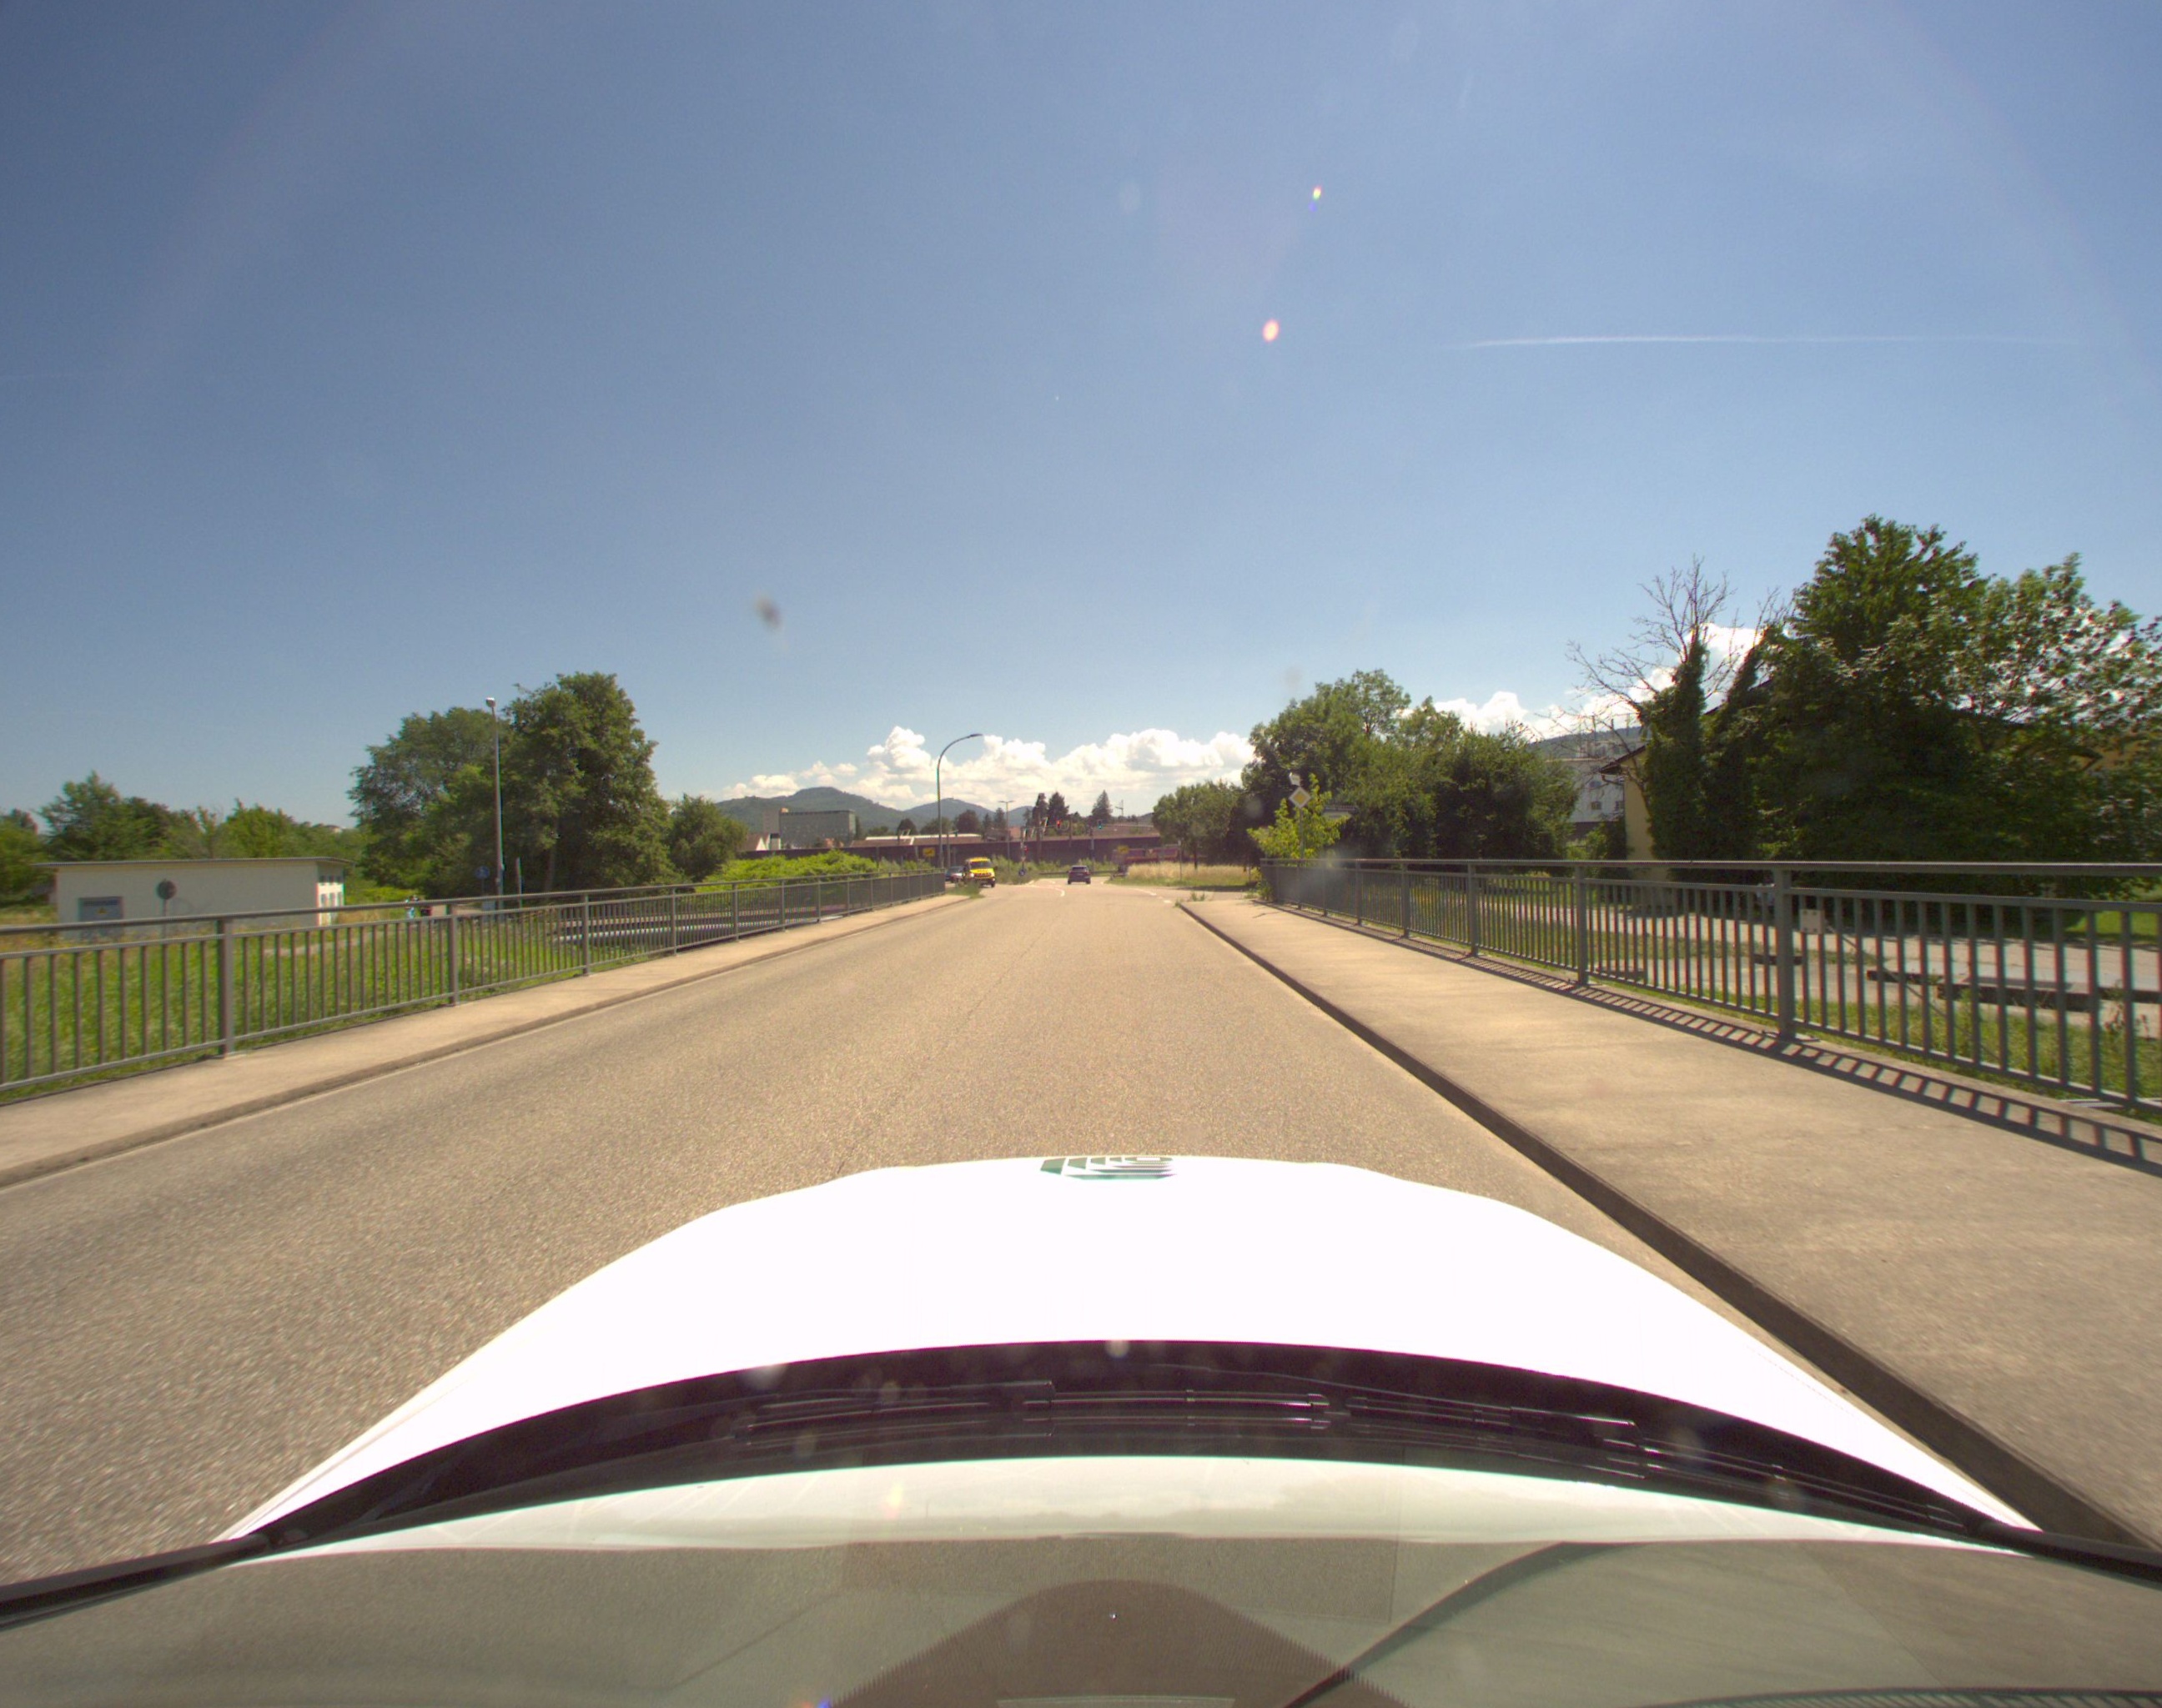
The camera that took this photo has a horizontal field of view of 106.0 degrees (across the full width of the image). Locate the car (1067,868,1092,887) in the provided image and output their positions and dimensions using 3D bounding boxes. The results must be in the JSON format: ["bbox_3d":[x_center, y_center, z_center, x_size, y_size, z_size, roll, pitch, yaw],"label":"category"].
[{"bbox_3d":[-0.138,1.961,67.765,1.988,1.503,3.997,0,-1,-2],"label":"car"}]

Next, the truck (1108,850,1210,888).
[{"bbox_3d":[8.890,1.678,91.984,11.841,4.181,2.977,0,-2,-30],"label":"truck"}]

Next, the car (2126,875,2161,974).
[{"bbox_3d":[20.689,1.212,13.239,2.009,1.624,4.463,-2,0,-36],"label":"car"}]

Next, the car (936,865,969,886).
[{"bbox_3d":[-13.136,2.228,83.575,1.889,1.701,4.015,-3,3,12],"label":"car"}]

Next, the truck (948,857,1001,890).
[{"bbox_3d":[-8.704,1.652,65.793,2.318,2.338,8.989,-3,-2,-19],"label":"truck"}]

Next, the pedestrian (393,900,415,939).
[{"bbox_3d":[-30.025,2.888,36.114,0.515,1.674,0.624,1,-2,-20],"label":"pedestrian"}]

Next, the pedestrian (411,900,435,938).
[{"bbox_3d":[-29.540,2.894,36.578,0.628,1.674,0.594,1,-2,-20],"label":"pedestrian"}]

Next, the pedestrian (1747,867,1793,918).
[{"bbox_3d":[20.249,1.128,23.941,0.676,1.392,0.853,-4,2,14],"label":"pedestrian"}]
